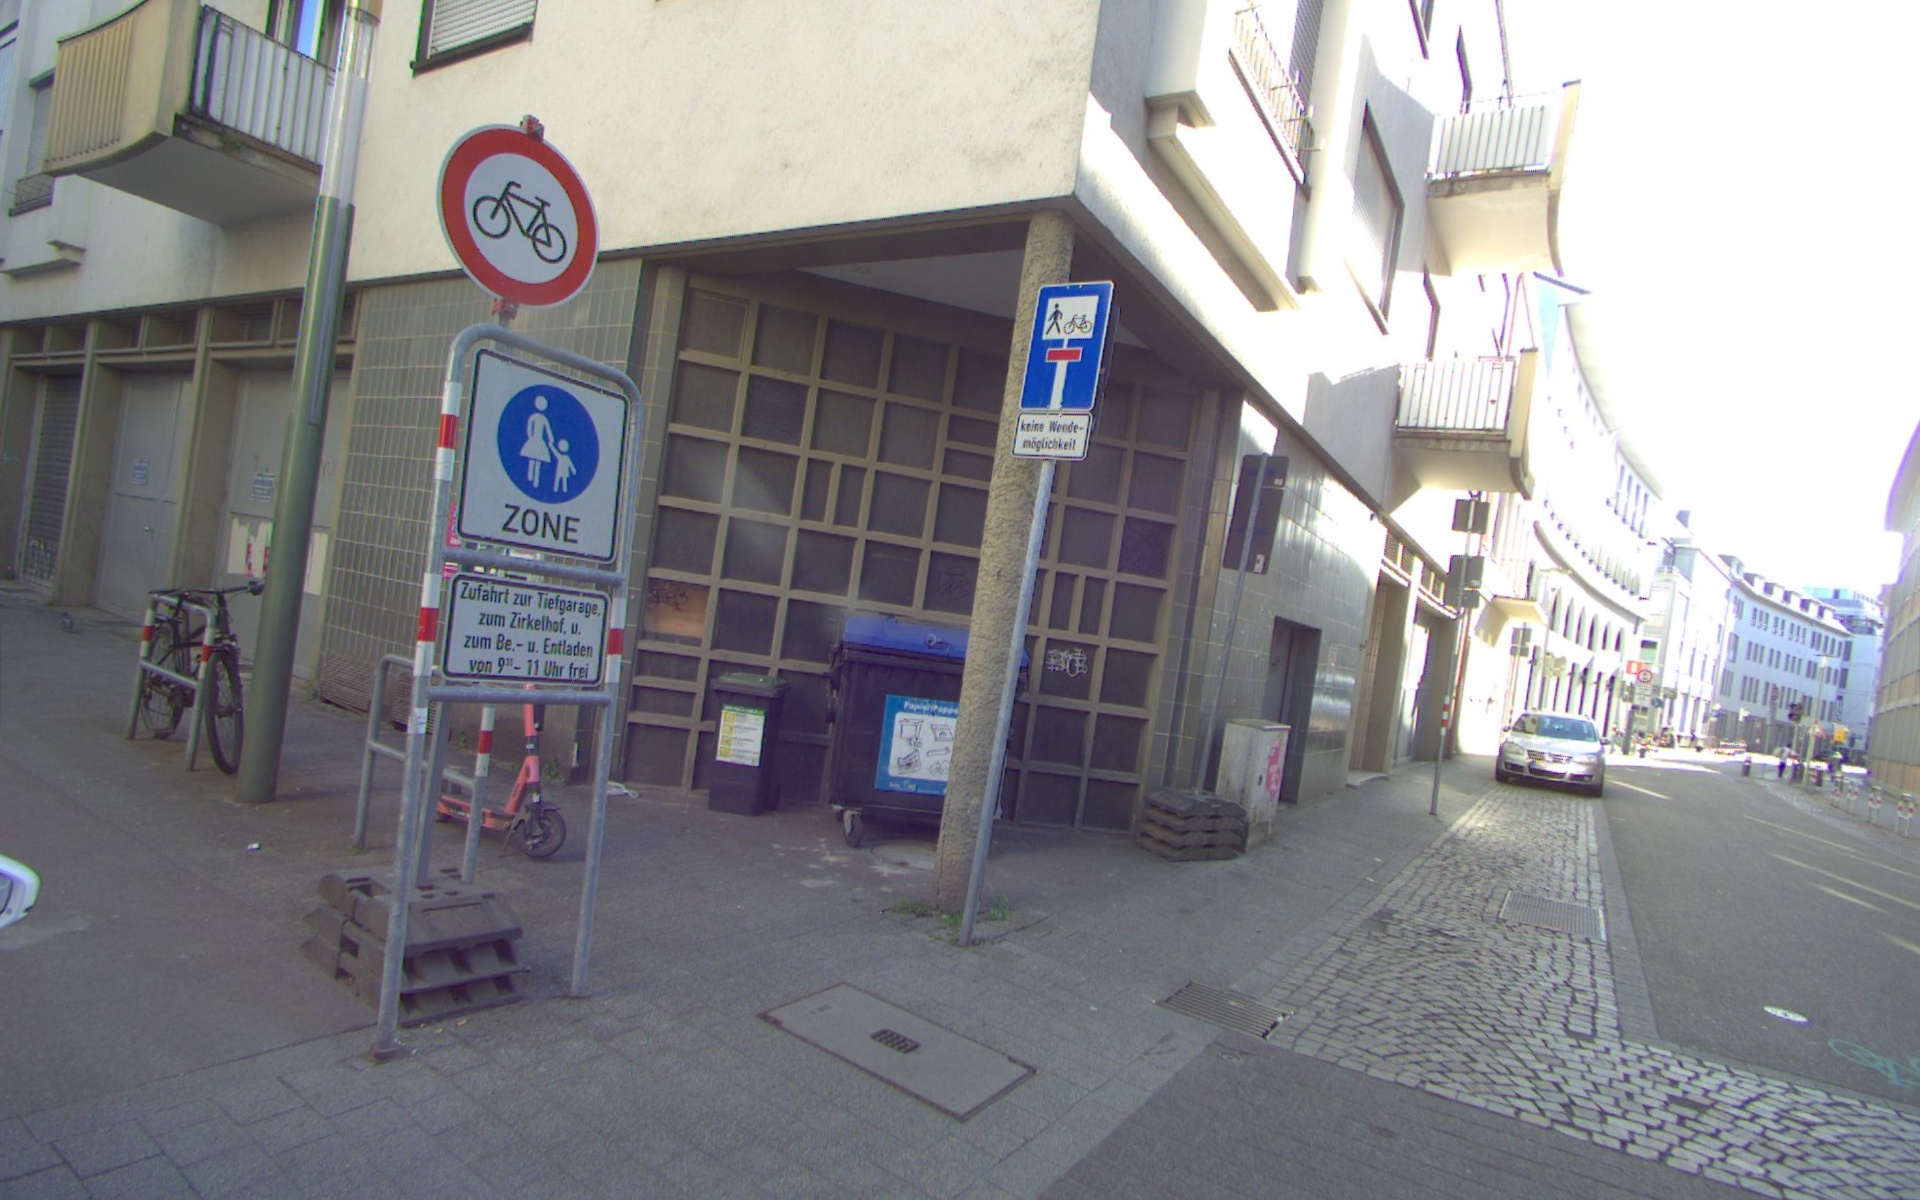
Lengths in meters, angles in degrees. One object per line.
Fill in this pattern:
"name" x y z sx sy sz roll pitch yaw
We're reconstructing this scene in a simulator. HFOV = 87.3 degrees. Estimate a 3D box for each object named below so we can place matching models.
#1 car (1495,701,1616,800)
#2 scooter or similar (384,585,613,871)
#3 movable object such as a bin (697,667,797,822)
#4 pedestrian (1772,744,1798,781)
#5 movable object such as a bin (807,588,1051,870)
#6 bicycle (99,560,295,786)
"car" 11.688 2.853 19.651 1.742 1.487 3.805 6 -2 33
"scooter or similar" -2.443 0.626 5.284 1.218 1.267 0.307 7 0 30
"movable object such as a bin" -1.467 0.977 6.903 0.533 0.935 0.512 7 0 -14
"pedestrian" 35.378 6.960 43.140 0.649 1.458 0.594 8 0 35
"movable object such as a bin" -0.261 0.820 6.839 1.271 1.609 1.152 8 1 -12
"bicycle" -4.734 0.404 6.196 1.684 1.153 0.446 6 -1 38
